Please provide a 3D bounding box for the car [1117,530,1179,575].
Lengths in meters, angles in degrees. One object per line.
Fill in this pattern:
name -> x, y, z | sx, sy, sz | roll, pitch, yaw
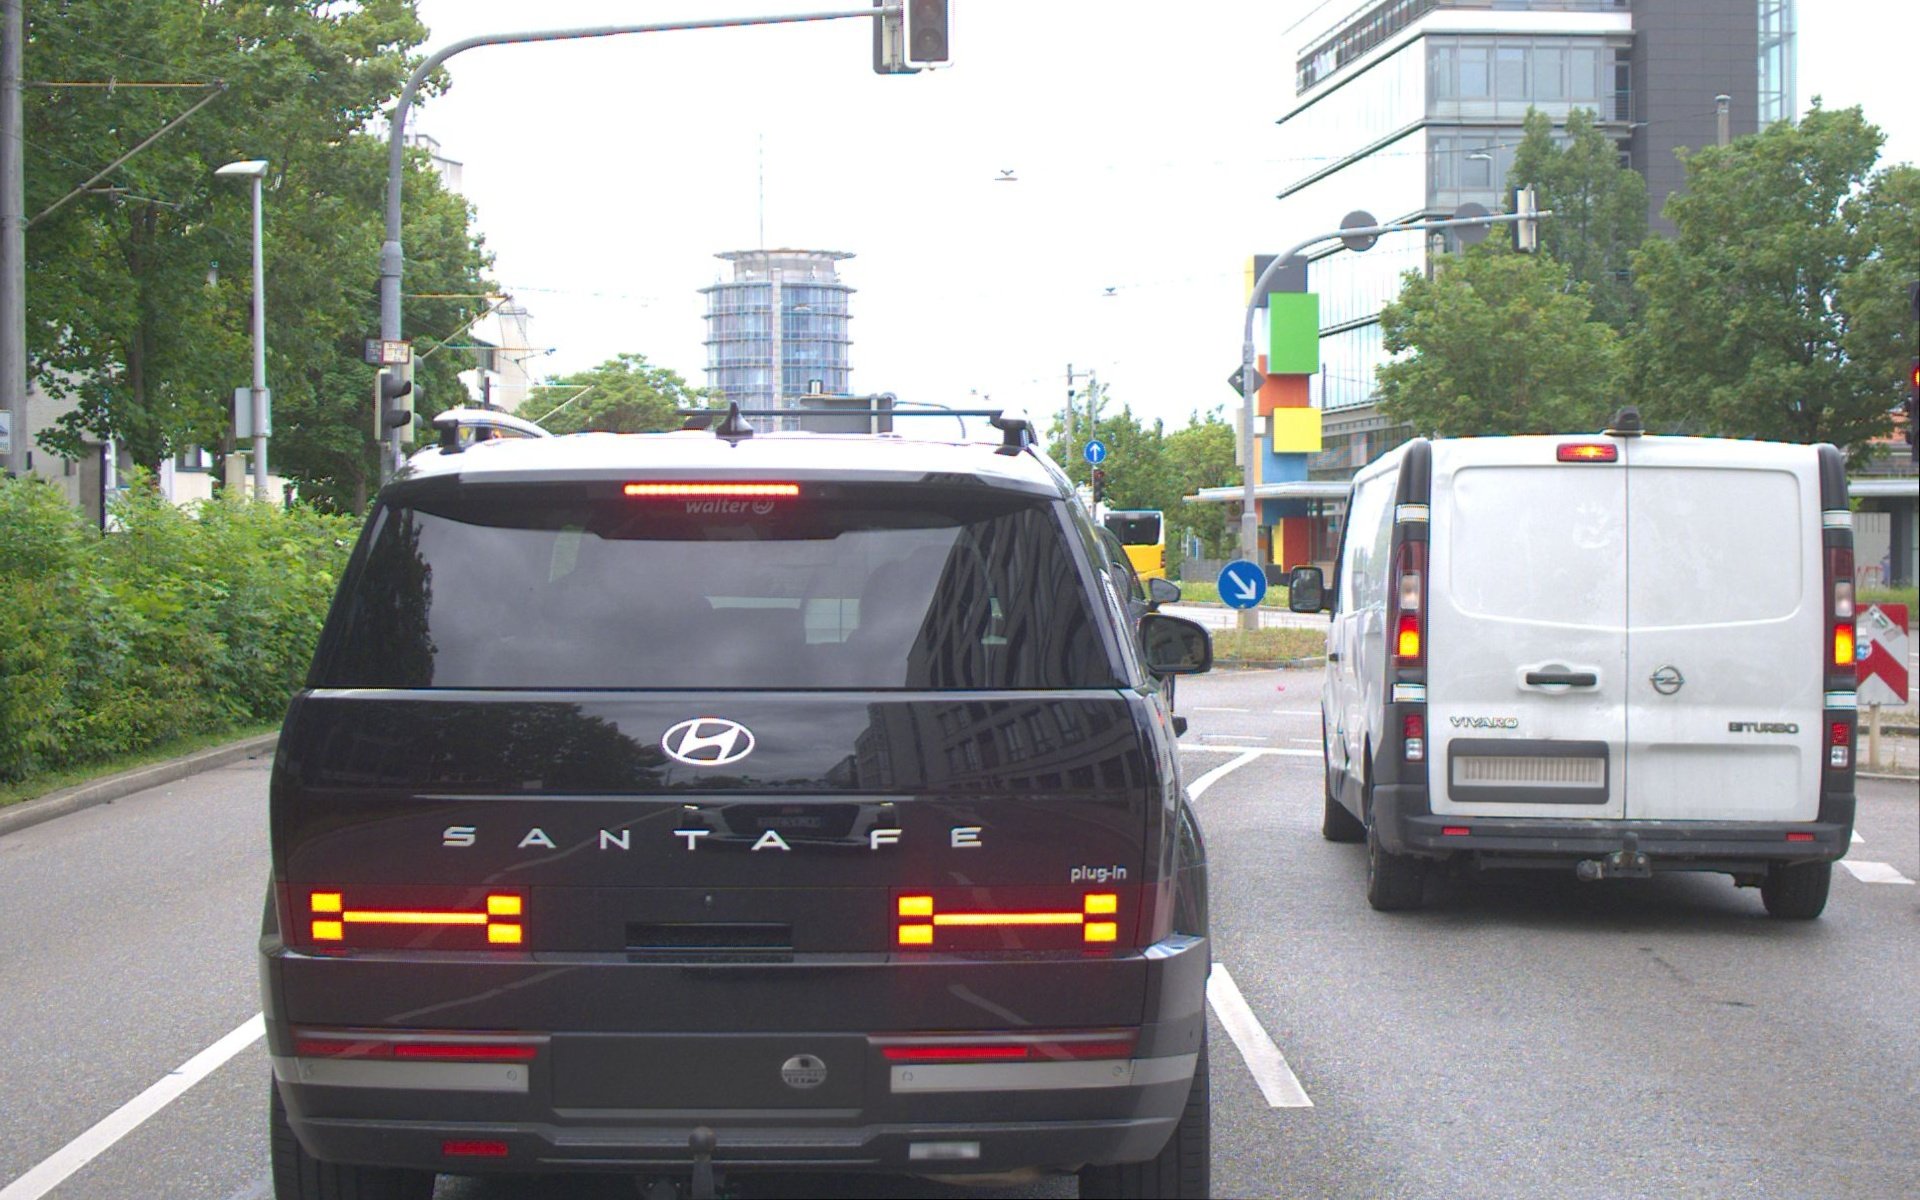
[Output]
car -> 7.274, -1.828, 133.213 | 1.993, 1.678, 4.000 | 0, 0, -3

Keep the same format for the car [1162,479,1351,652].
car -> 3.581, -0.420, 42.128 | 1.993, 2.007, 4.000 | 0, 0, 1

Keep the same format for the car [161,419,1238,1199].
car -> -0.469, 0.529, 7.932 | 1.869, 1.754, 3.880 | 0, 1, -1

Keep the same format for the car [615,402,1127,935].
car -> -0.355, 0.222, 14.864 | 1.915, 1.996, 3.880 | 0, 1, -1

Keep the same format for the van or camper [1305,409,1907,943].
van or camper -> 2.680, 0.242, 15.368 | 1.994, 2.007, 4.652 | 1, 1, 3

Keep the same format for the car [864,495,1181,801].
car -> 0.395, 0.250, 21.526 | 1.776, 1.711, 4.338 | 0, 0, 1
